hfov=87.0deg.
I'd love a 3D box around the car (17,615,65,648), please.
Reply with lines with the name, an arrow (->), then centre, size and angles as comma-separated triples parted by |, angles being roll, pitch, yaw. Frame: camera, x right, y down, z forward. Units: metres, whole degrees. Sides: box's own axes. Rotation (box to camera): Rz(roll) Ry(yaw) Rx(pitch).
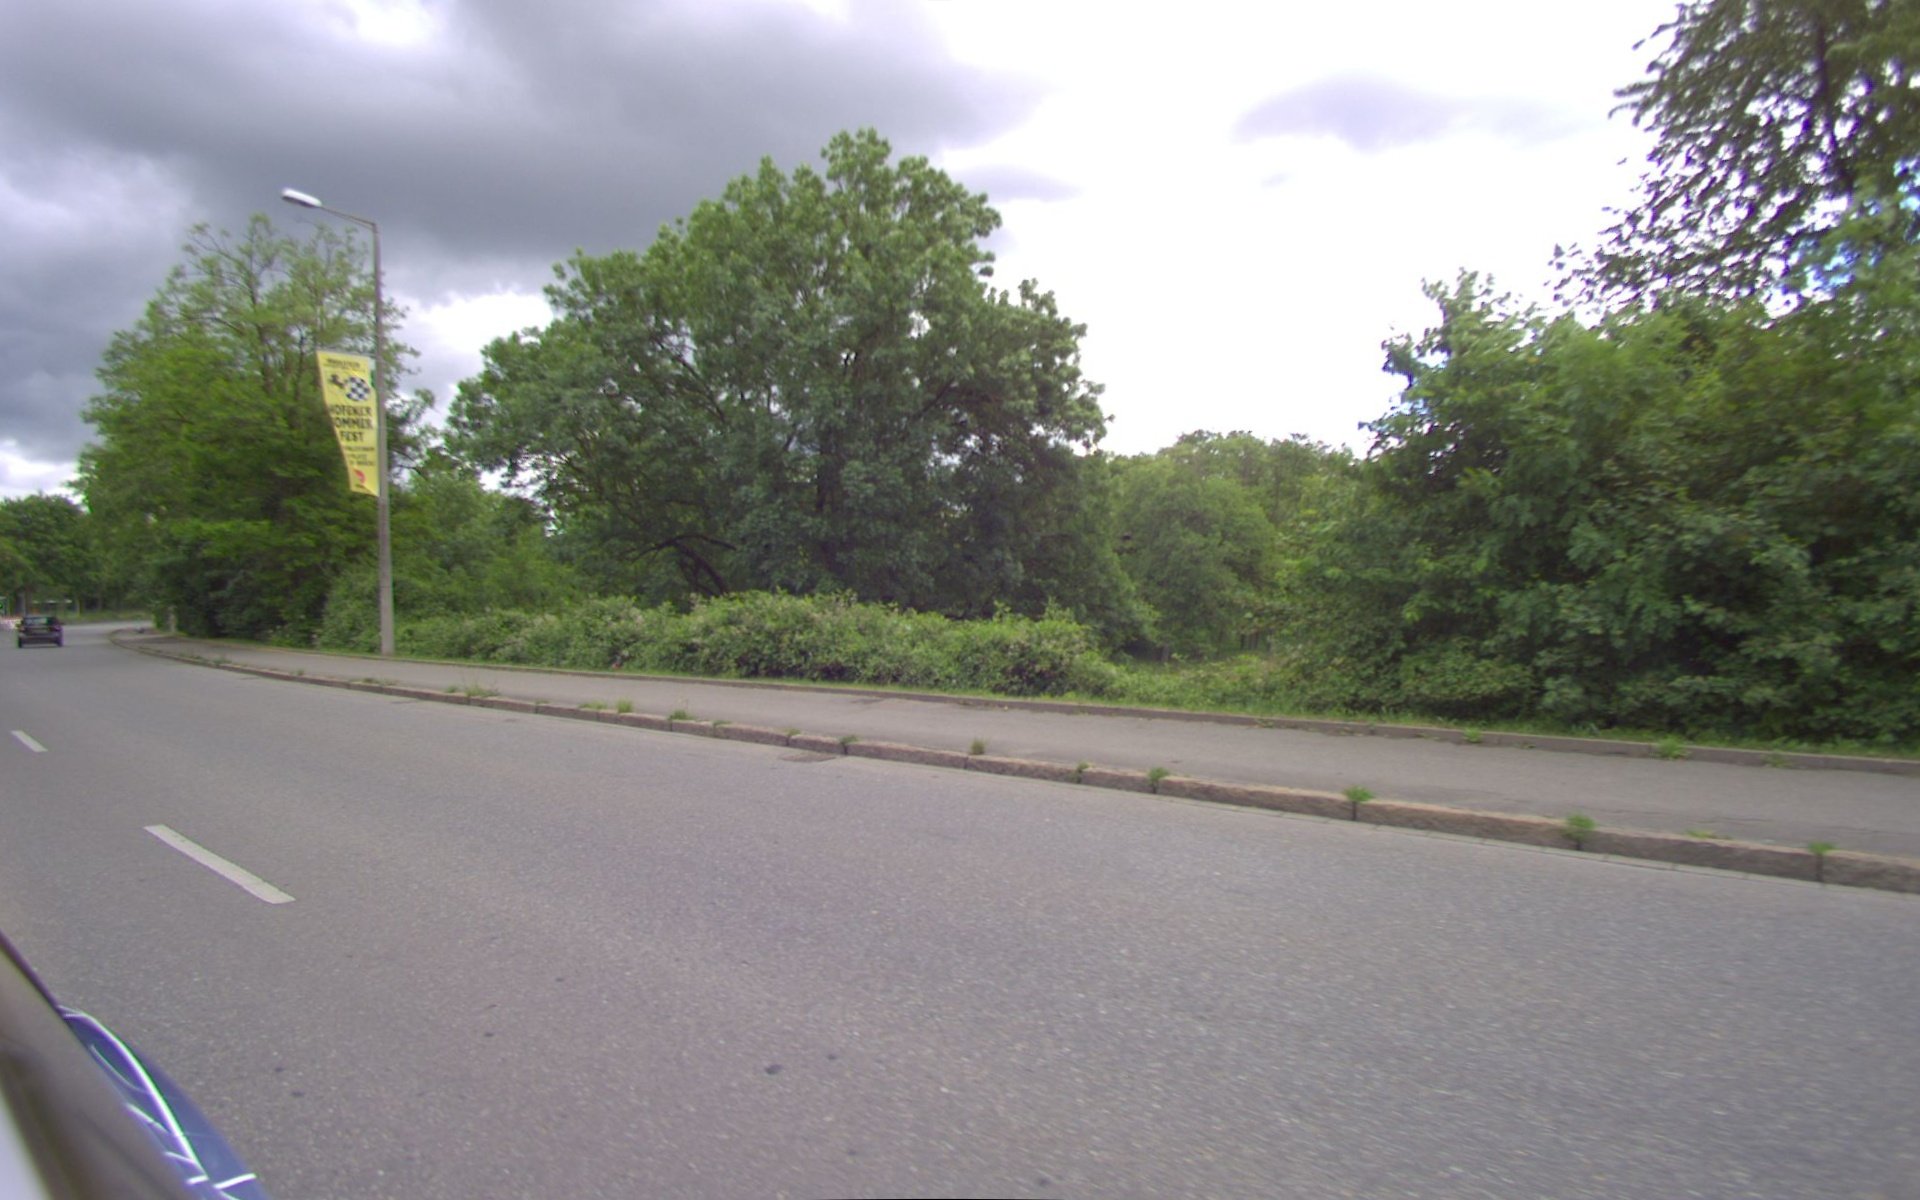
car -> -44.178, 1.495, 48.643 | 1.577, 1.517, 3.030 | -1, 0, -44
